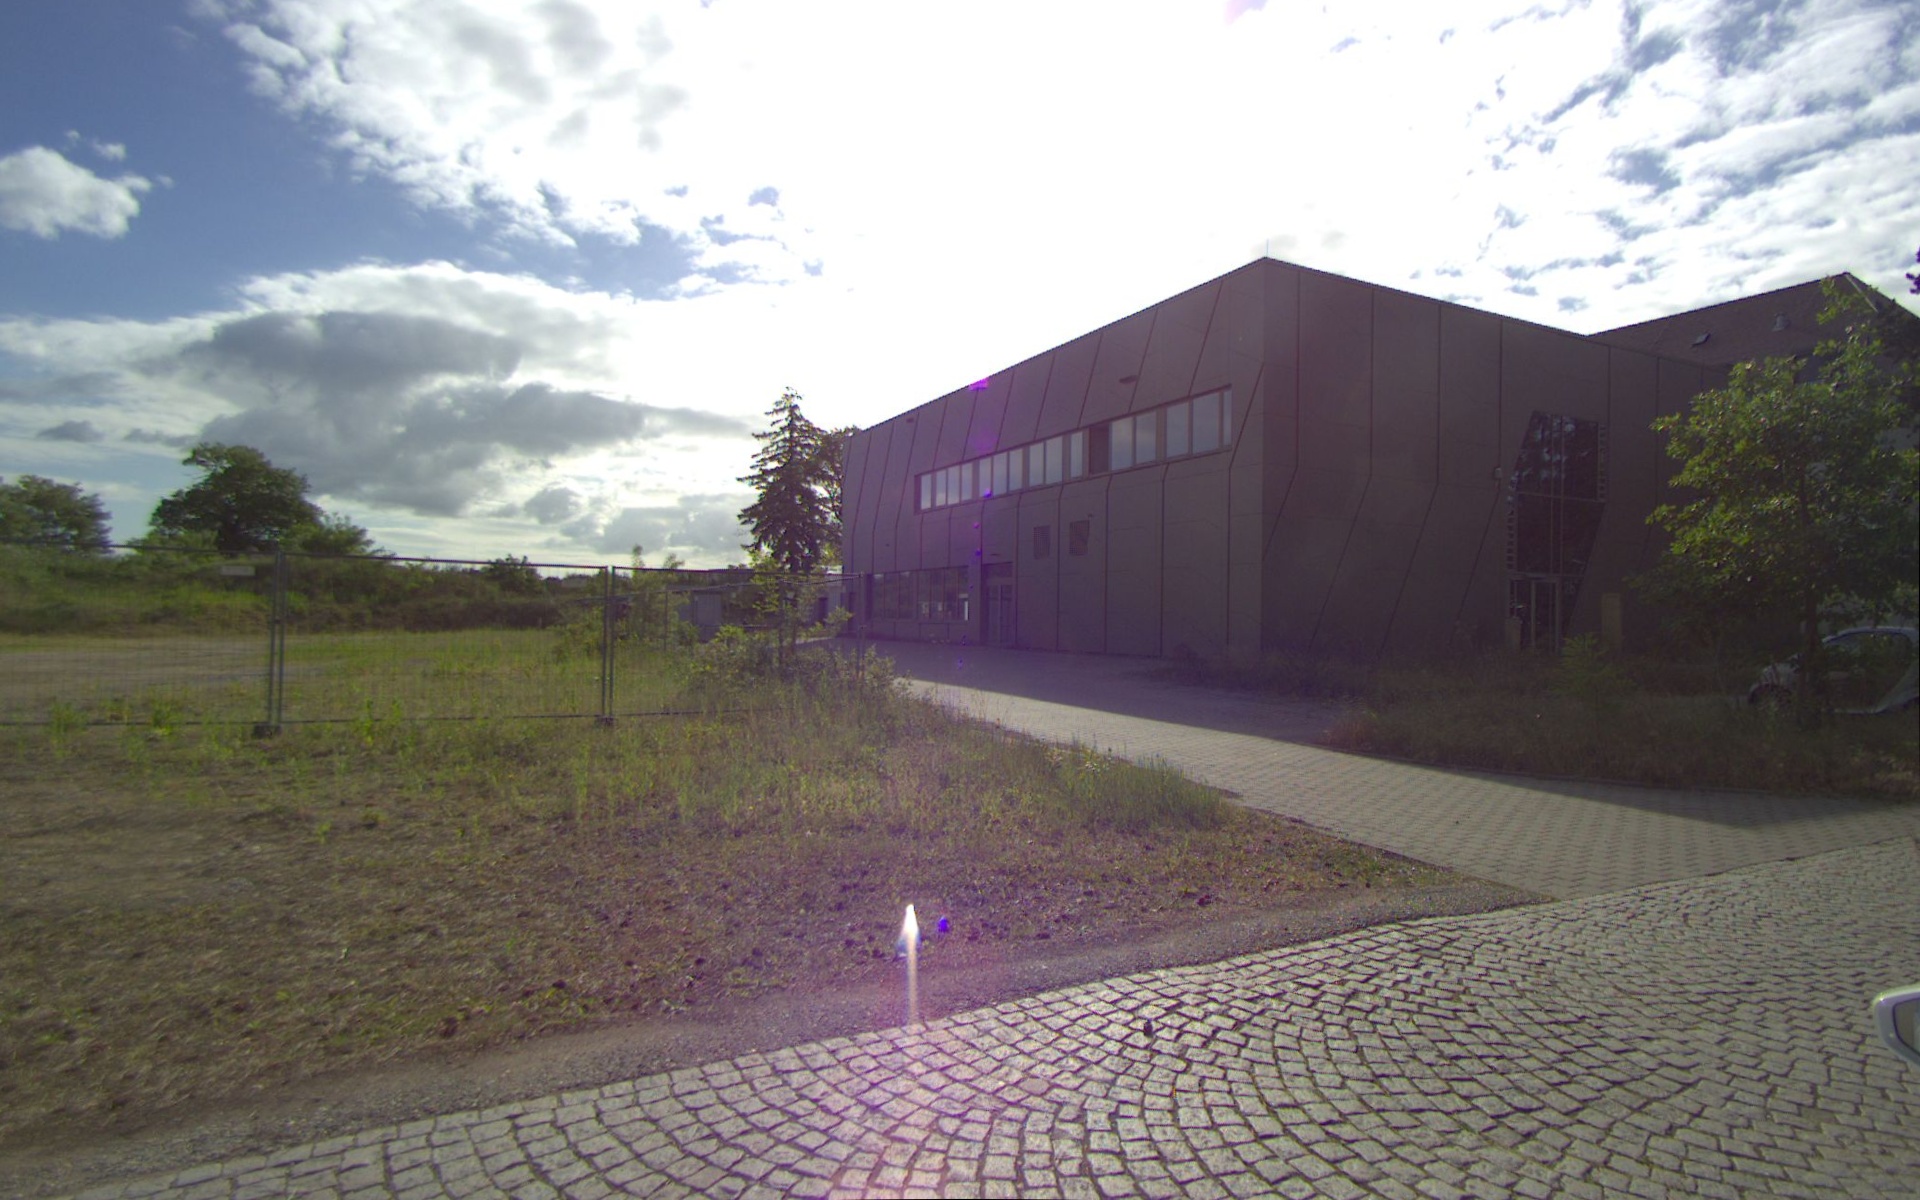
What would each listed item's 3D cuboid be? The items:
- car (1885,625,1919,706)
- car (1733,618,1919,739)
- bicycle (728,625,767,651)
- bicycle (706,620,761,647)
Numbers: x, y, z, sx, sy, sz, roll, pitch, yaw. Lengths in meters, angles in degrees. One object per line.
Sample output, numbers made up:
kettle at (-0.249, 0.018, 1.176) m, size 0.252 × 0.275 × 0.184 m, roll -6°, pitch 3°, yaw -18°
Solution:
car at (19.763, 1.295, 18.112) m, size 1.660 × 1.484 × 4.237 m, roll -1°, pitch 2°, yaw -29°
car at (13.313, 1.113, 14.768) m, size 1.500 × 1.563 × 2.688 m, roll 1°, pitch 1°, yaw -28°
bicycle at (-7.856, 1.391, 37.162) m, size 1.338 × 0.912 × 0.515 m, roll -1°, pitch 0°, yaw -25°
bicycle at (-8.835, 1.286, 39.133) m, size 1.940 × 0.982 × 0.837 m, roll -1°, pitch 0°, yaw -25°
